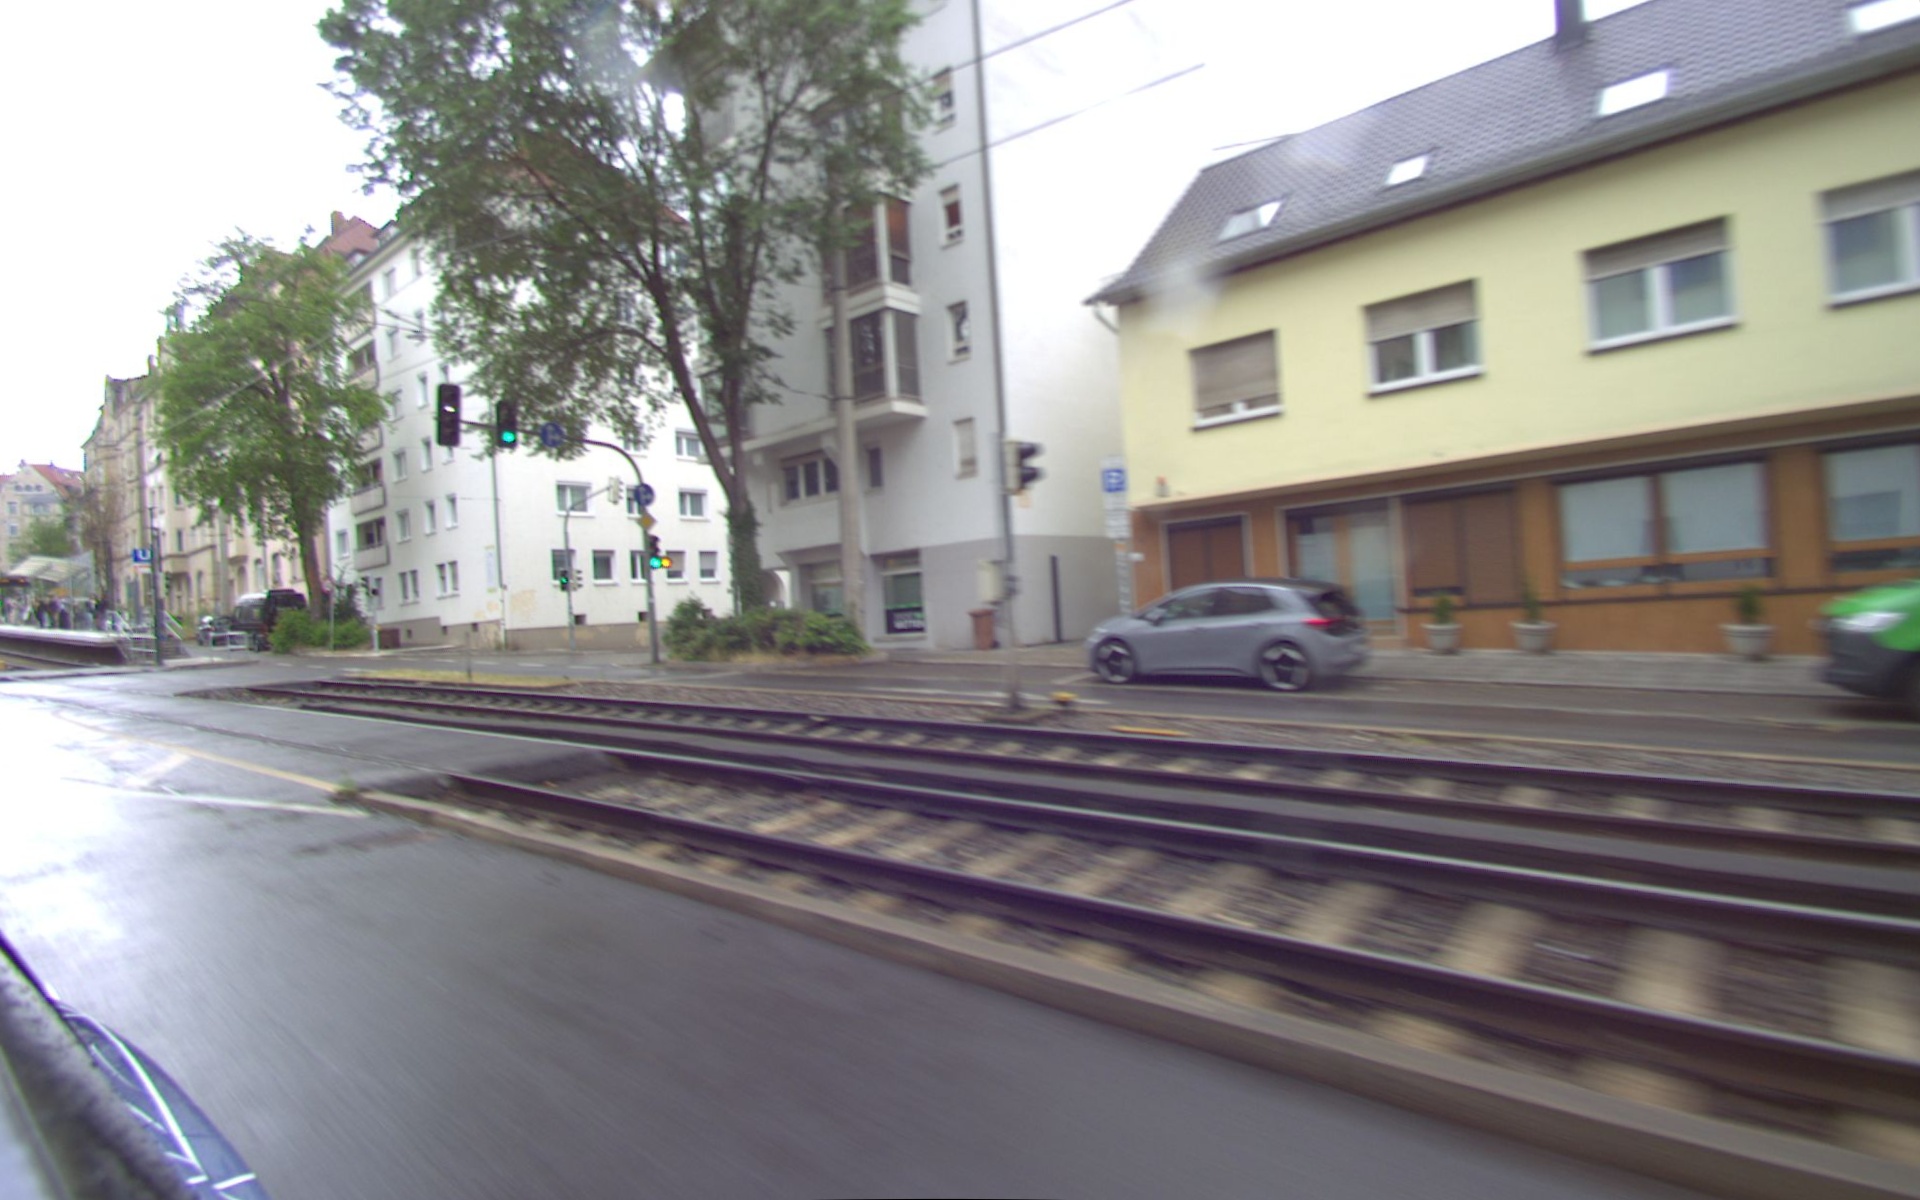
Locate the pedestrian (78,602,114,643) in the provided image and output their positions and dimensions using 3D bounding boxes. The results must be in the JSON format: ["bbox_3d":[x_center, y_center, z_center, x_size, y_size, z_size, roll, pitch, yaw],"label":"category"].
[{"bbox_3d":[-39.335,1.017,46.071,0.965,1.796,1.105,-2,-1,41],"label":"pedestrian"}]

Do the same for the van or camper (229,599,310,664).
[{"bbox_3d":[-32.161,1.431,47.073,5.211,2.819,1.972,-2,-1,42],"label":"van or camper"}]

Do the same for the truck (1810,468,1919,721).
[{"bbox_3d":[11.438,-0.074,8.598,6.353,2.363,2.168,-1,0,43],"label":"truck"}]

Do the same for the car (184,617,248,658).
[{"bbox_3d":[-39.297,1.988,53.423,3.999,2.029,1.972,-2,-1,43],"label":"car"}]

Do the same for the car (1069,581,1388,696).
[{"bbox_3d":[3.953,0.553,15.382,4.358,1.471,1.687,-2,1,41],"label":"car"}]

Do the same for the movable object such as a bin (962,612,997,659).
[{"bbox_3d":[0.443,0.800,22.744,0.644,1.022,0.434,-2,-1,40],"label":"movable object such as a bin"}]

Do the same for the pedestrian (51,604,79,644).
[{"bbox_3d":[-43.258,1.167,48.909,0.860,1.866,0.891,-2,-1,42],"label":"pedestrian"}]
